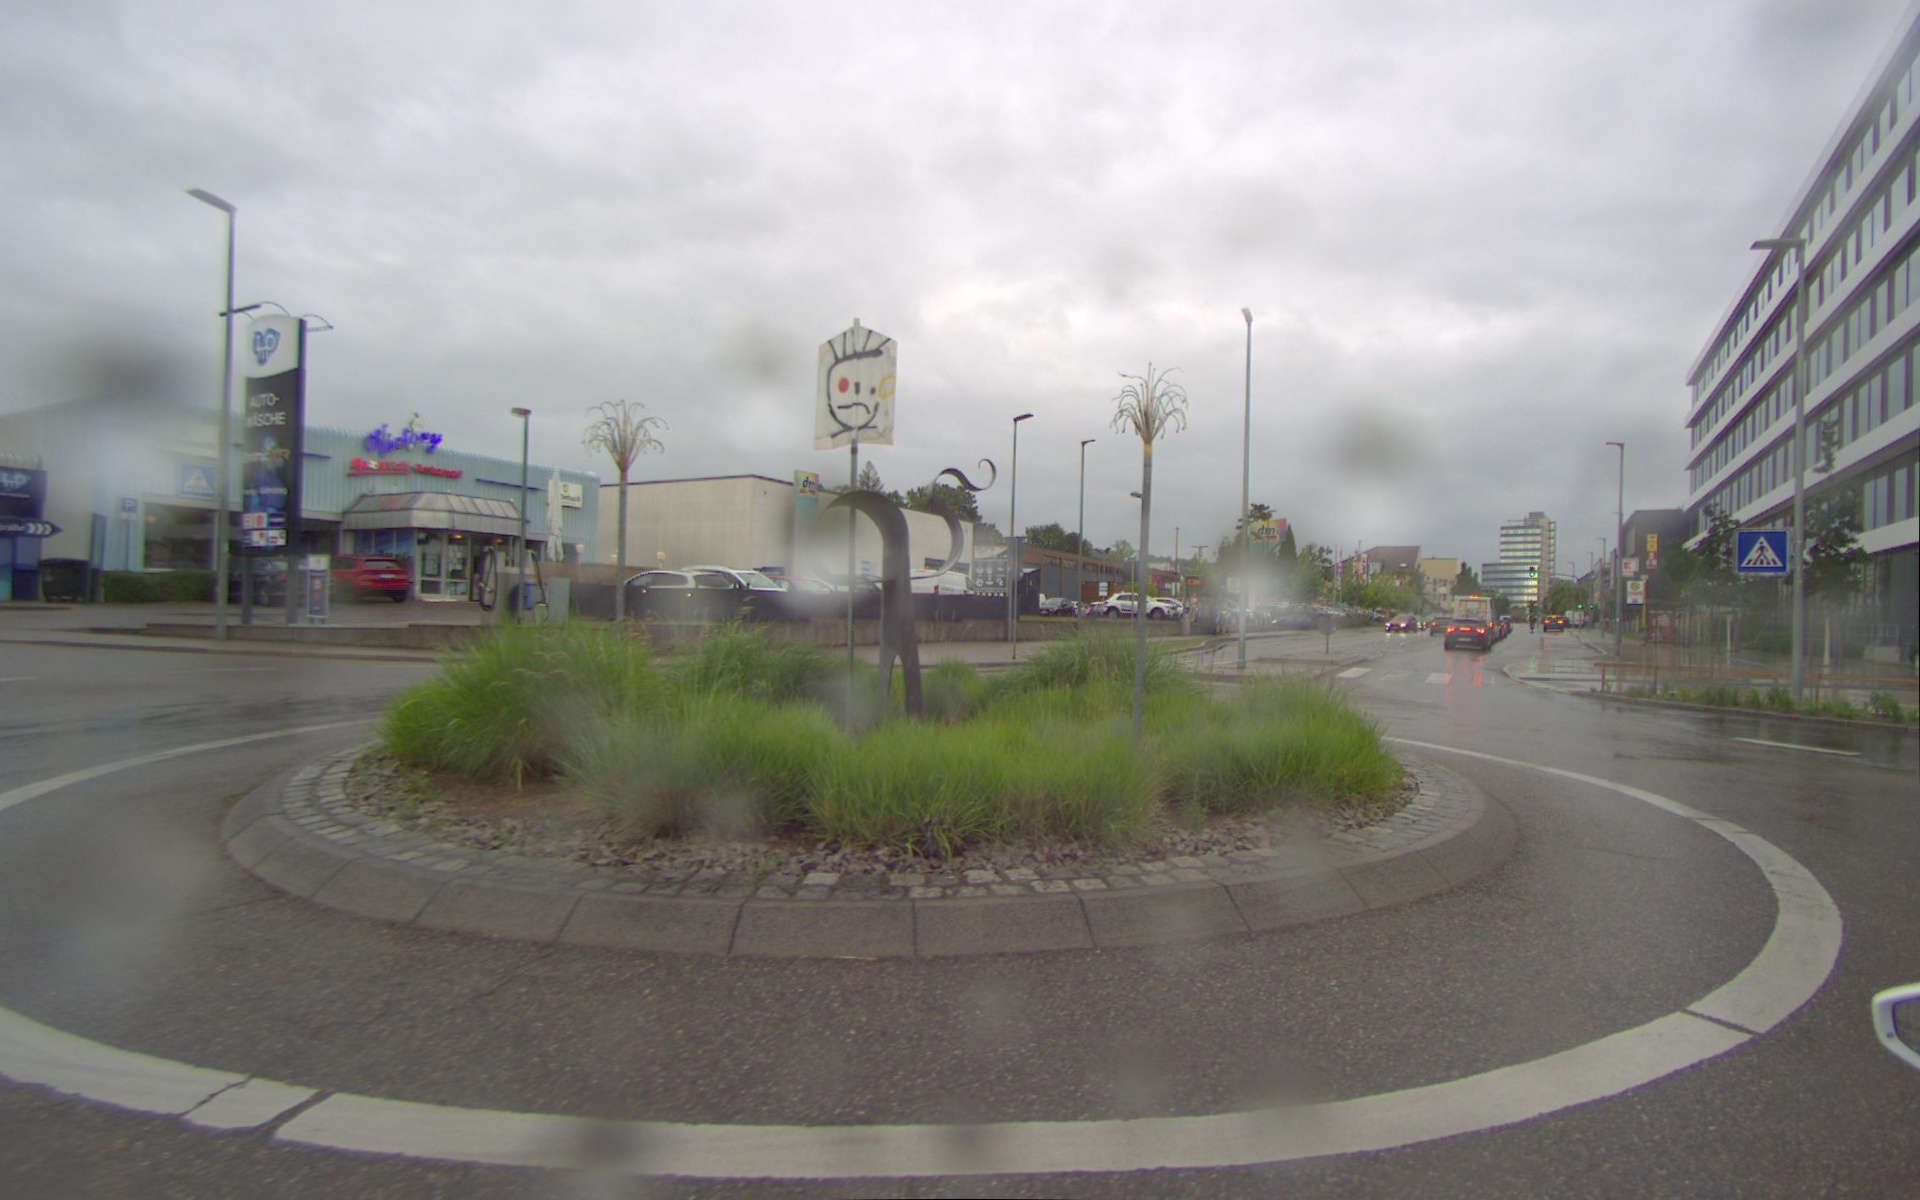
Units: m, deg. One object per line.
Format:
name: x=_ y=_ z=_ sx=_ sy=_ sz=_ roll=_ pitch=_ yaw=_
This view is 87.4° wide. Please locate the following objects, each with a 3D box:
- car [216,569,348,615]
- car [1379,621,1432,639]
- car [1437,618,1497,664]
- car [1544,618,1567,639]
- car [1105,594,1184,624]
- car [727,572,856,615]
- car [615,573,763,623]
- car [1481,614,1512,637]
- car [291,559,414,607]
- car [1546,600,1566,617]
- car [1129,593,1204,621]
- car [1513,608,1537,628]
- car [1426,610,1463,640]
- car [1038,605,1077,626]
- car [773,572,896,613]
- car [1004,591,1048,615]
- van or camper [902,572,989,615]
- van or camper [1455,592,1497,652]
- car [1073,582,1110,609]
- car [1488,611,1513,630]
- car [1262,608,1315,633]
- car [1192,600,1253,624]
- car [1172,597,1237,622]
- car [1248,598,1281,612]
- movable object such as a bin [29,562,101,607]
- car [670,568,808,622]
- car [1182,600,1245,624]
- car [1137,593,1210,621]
car: x=-20.838 y=-0.299 z=30.844 sx=3.929 sy=1.313 sz=1.883 roll=1 pitch=2 yaw=31
car: x=38.032 y=2.584 z=85.709 sx=3.943 sy=1.417 sz=1.989 roll=1 pitch=0 yaw=-23
car: x=23.147 y=1.813 z=45.791 sx=1.966 sy=1.751 sz=3.987 roll=2 pitch=3 yaw=34
car: x=63.864 y=3.050 z=107.694 sx=1.965 sy=1.885 sz=3.989 roll=4 pitch=4 yaw=32
car: x=10.226 y=0.492 z=55.715 sx=3.926 sy=1.572 sz=1.849 roll=1 pitch=0 yaw=28
car: x=-5.547 y=-0.242 z=32.987 sx=3.929 sy=1.313 sz=1.883 roll=1 pitch=2 yaw=31
car: x=-7.702 y=-0.097 z=28.497 sx=3.929 sy=1.313 sz=1.883 roll=1 pitch=2 yaw=31
car: x=40.441 y=1.896 z=75.677 sx=1.964 sy=1.639 sz=3.993 roll=2 pitch=1 yaw=29
car: x=-20.087 y=-0.587 z=33.192 sx=3.929 sy=1.506 sz=1.883 roll=1 pitch=2 yaw=31
car: x=76.411 y=1.063 z=128.731 sx=1.965 sy=1.885 sz=3.989 roll=4 pitch=4 yaw=32
car: x=12.011 y=0.414 z=58.411 sx=3.926 sy=1.572 sz=1.792 roll=1 pitch=0 yaw=28
car: x=60.700 y=1.912 z=107.883 sx=1.966 sy=2.041 sz=3.989 roll=0 pitch=1 yaw=33
car: x=35.764 y=1.844 z=74.086 sx=1.965 sy=1.885 sz=3.989 roll=4 pitch=4 yaw=32
car: x=6.673 y=1.058 z=68.527 sx=1.562 sy=1.371 sz=3.517 roll=1 pitch=0 yaw=26
car: x=-4.366 y=-0.290 z=34.940 sx=3.929 sy=1.313 sz=1.883 roll=1 pitch=2 yaw=31
car: x=4.703 y=0.229 z=71.014 sx=1.761 sy=1.572 sz=3.996 roll=1 pitch=0 yaw=26
van or camper: x=-0.580 y=-0.330 z=44.778 sx=1.855 sy=1.785 sz=4.371 roll=1 pitch=2 yaw=31
van or camper: x=28.601 y=1.144 z=55.627 sx=1.963 sy=3.129 sz=5.094 roll=1 pitch=1 yaw=28
car: x=11.339 y=-0.412 z=86.449 sx=1.962 sy=2.041 sz=3.995 roll=3 pitch=3 yaw=25
car: x=50.243 y=1.918 z=93.283 sx=1.964 sy=1.639 sz=3.993 roll=2 pitch=1 yaw=29
car: x=27.894 y=1.731 z=85.247 sx=3.926 sy=1.751 sz=1.997 roll=4 pitch=3 yaw=27
car: x=18.812 y=0.855 z=71.887 sx=3.926 sy=1.572 sz=1.792 roll=1 pitch=0 yaw=28
car: x=16.429 y=0.621 z=67.403 sx=3.926 sy=1.572 sz=1.792 roll=1 pitch=0 yaw=28
car: x=41.538 y=0.669 z=136.896 sx=3.928 sy=1.673 sz=1.996 roll=4 pitch=4 yaw=29
movable object such as a bin: x=-26.859 y=-0.475 z=30.160 sx=1.452 sy=1.313 sz=1.212 roll=1 pitch=2 yaw=31
car: x=-6.864 y=-0.160 z=31.149 sx=3.926 sy=1.572 sz=1.792 roll=1 pitch=0 yaw=28
car: x=17.599 y=0.793 z=69.655 sx=3.926 sy=1.572 sz=1.792 roll=1 pitch=0 yaw=28
car: x=12.796 y=0.418 z=60.249 sx=3.926 sy=1.572 sz=1.792 roll=1 pitch=0 yaw=28
